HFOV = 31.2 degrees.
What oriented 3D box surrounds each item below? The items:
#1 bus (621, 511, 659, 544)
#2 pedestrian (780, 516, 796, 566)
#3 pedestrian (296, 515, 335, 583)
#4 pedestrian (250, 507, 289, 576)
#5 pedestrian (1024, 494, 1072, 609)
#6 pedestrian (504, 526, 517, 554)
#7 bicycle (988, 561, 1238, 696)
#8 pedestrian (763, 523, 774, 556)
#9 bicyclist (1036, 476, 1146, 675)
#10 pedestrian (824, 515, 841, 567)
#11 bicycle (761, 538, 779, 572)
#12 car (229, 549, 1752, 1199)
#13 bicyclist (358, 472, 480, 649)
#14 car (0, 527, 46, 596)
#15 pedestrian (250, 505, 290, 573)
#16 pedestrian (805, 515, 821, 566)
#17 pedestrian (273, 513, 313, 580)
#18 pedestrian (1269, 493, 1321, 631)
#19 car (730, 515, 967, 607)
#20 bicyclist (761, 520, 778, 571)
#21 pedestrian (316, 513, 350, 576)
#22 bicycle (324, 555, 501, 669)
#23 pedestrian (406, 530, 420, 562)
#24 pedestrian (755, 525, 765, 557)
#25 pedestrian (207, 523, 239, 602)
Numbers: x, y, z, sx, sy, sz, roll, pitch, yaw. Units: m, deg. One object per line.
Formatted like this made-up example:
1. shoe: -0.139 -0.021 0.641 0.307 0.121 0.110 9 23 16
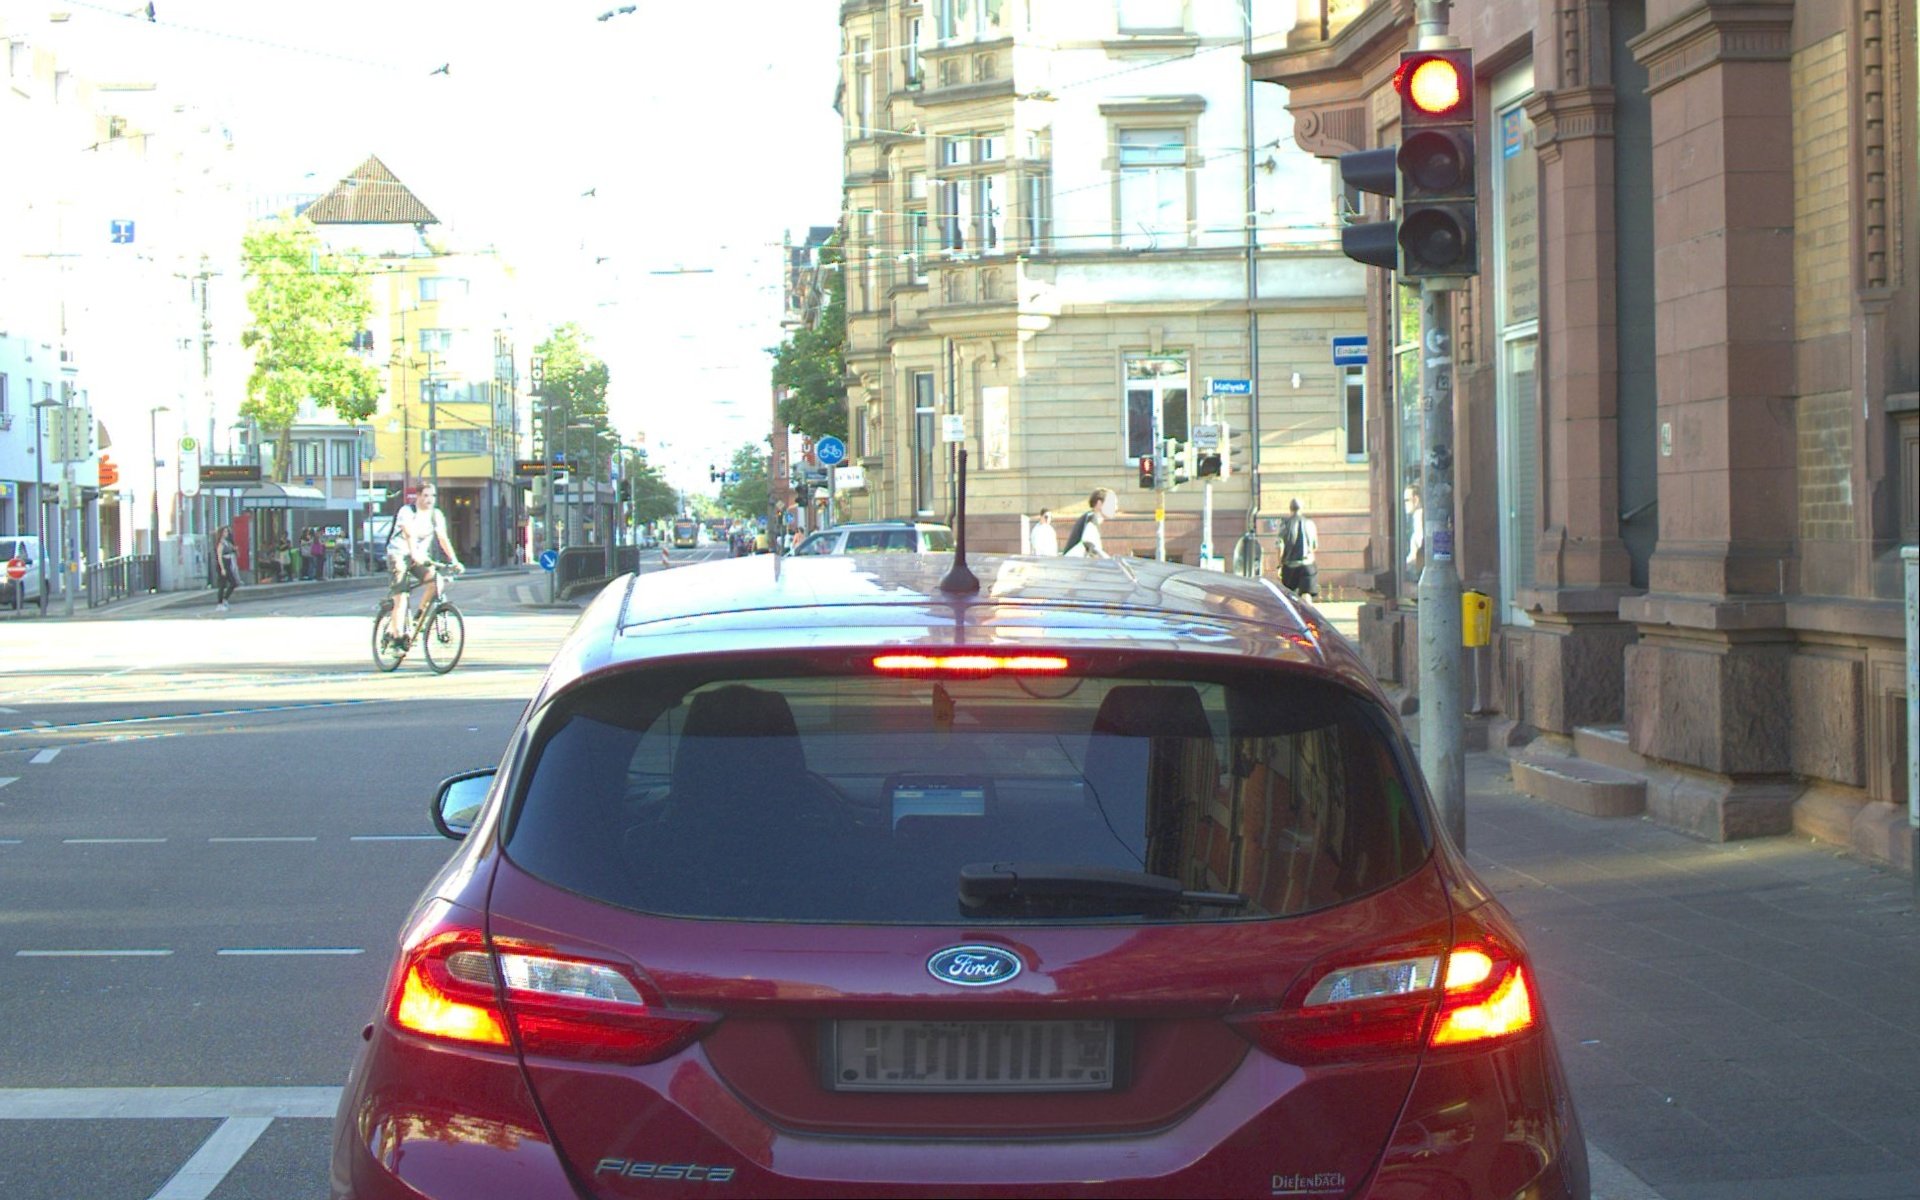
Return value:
1. bus: -20.199 -4.586 217.054 1.925 2.007 7.138 -1 1 -2
2. pedestrian: -6.978 -2.398 139.534 0.577 2.007 0.631 -1 1 3
3. pedestrian: -19.249 -1.518 102.720 1.045 2.007 0.959 -1 1 -5
4. pedestrian: -20.212 -1.710 100.647 0.956 2.007 1.049 -1 1 -3
5. pedestrian: 1.559 -0.862 60.952 0.757 2.007 0.653 -1 1 8
6. pedestrian: -25.729 -3.440 196.750 0.628 1.599 0.579 -1 1 -20
7. bicycle: 1.349 0.245 30.175 2.044 1.143 0.810 -1 1 15
8. pedestrian: -11.170 -3.523 200.610 0.577 1.880 0.631 -1 1 -3
9. bicyclist: 1.157 -0.218 30.207 0.792 1.720 0.810 -1 1 14
10. pedestrian: -4.990 -2.320 134.519 0.577 2.007 0.631 -1 1 3
11. bicycle: -6.199 -1.479 112.123 0.526 1.085 1.486 -1 1 -1
12. car: -0.127 0.661 5.927 1.754 1.461 3.946 1 1 -5
13. bicyclist: -5.647 -0.416 35.874 0.808 1.815 0.993 -2 1 -44
14. car: -24.492 -0.986 87.451 1.701 1.712 3.565 -1 1 -4
15. pedestrian: -20.646 -1.828 102.835 1.045 2.007 0.959 -1 1 -5
16. pedestrian: -5.777 -2.333 135.094 0.577 2.007 0.631 -1 1 3
17. pedestrian: -20.329 -1.624 104.793 1.045 2.007 0.959 -1 1 -5
18. pedestrian: 4.289 -0.491 44.009 0.560 1.749 0.650 -2 1 -1
19. car: -1.959 -0.684 60.169 3.901 1.543 1.453 0 1 26
20. bicyclist: -6.197 -1.771 111.986 0.499 1.670 0.545 -1 1 -2
21. pedestrian: -20.370 -1.806 111.669 0.956 2.007 1.049 -1 1 -5
22. bicycle: -5.728 0.116 35.887 0.808 1.143 2.009 -2 2 -44
23. pedestrian: -25.559 -2.515 160.586 0.580 1.483 0.526 -1 1 -5
24. pedestrian: -11.855 -3.521 204.063 0.577 1.880 0.669 -1 1 -3
25. pedestrian: -15.672 -0.797 73.128 0.524 1.676 0.486 -1 1 2
